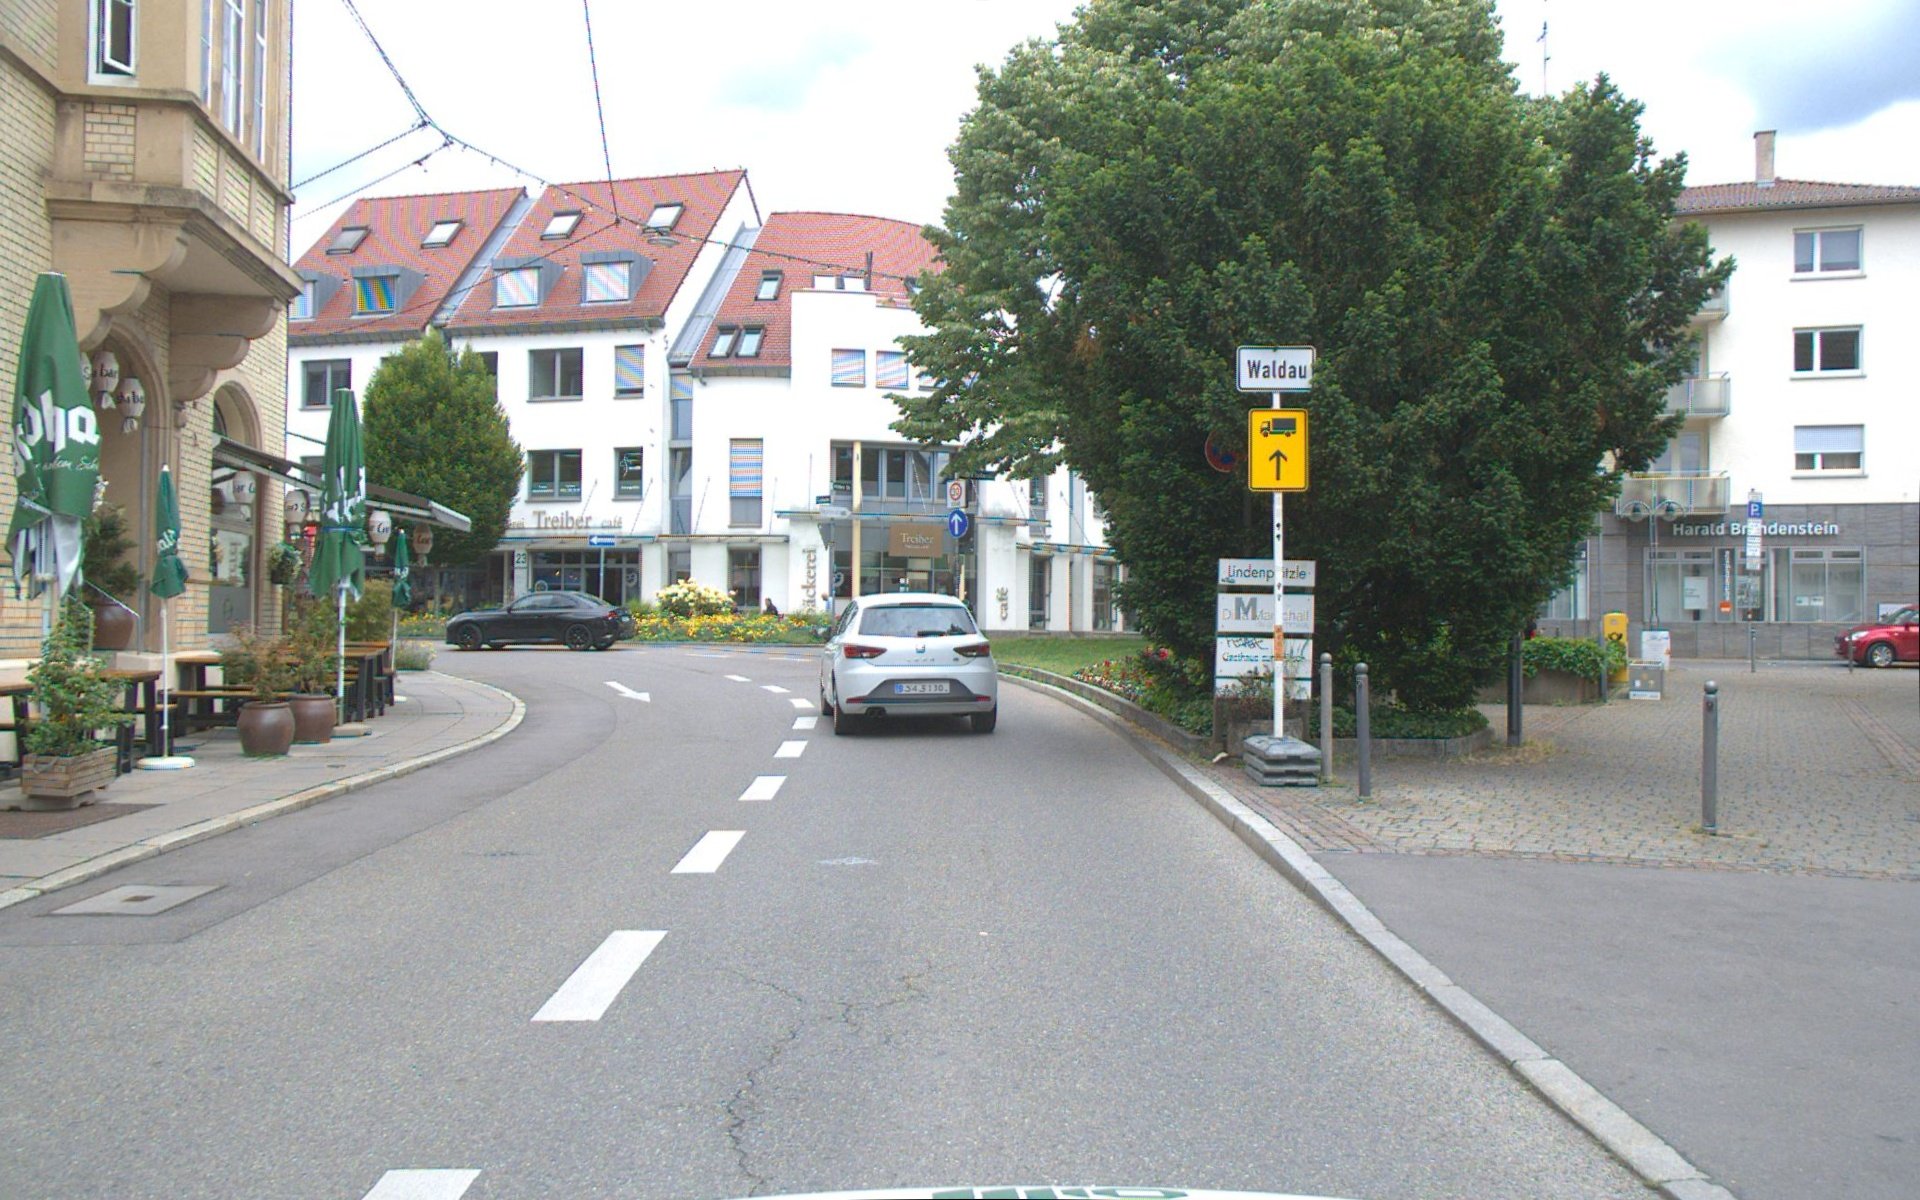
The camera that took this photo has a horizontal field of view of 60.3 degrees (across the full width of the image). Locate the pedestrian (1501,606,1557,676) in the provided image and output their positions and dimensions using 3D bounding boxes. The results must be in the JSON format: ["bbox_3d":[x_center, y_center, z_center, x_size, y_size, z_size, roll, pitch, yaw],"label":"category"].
[{"bbox_3d":[11.596,0.828,33.718,0.836,1.405,0.975,1,-1,4],"label":"pedestrian"}]

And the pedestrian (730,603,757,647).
[{"bbox_3d":[-6.780,0.776,51.833,0.686,1.355,0.685,0,0,4],"label":"pedestrian"}]

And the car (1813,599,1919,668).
[{"bbox_3d":[23.412,0.839,40.226,4.276,1.574,2.126,2,0,12],"label":"car"}]

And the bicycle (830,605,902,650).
[{"bbox_3d":[-2.716,0.781,47.777,1.932,1.261,0.744,1,0,16],"label":"bicycle"}]

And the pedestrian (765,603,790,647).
[{"bbox_3d":[-5.698,0.767,51.667,0.641,1.365,0.696,0,0,4],"label":"pedestrian"}]

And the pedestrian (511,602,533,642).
[{"bbox_3d":[-14.263,0.721,53.874,0.480,1.293,0.502,0,-1,17],"label":"pedestrian"}]

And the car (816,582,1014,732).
[{"bbox_3d":[-0.615,0.558,18.575,1.809,1.459,3.993,1,1,-8],"label":"car"}]

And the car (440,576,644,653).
[{"bbox_3d":[-9.970,0.341,39.666,4.267,1.704,2.043,1,0,5],"label":"car"}]
